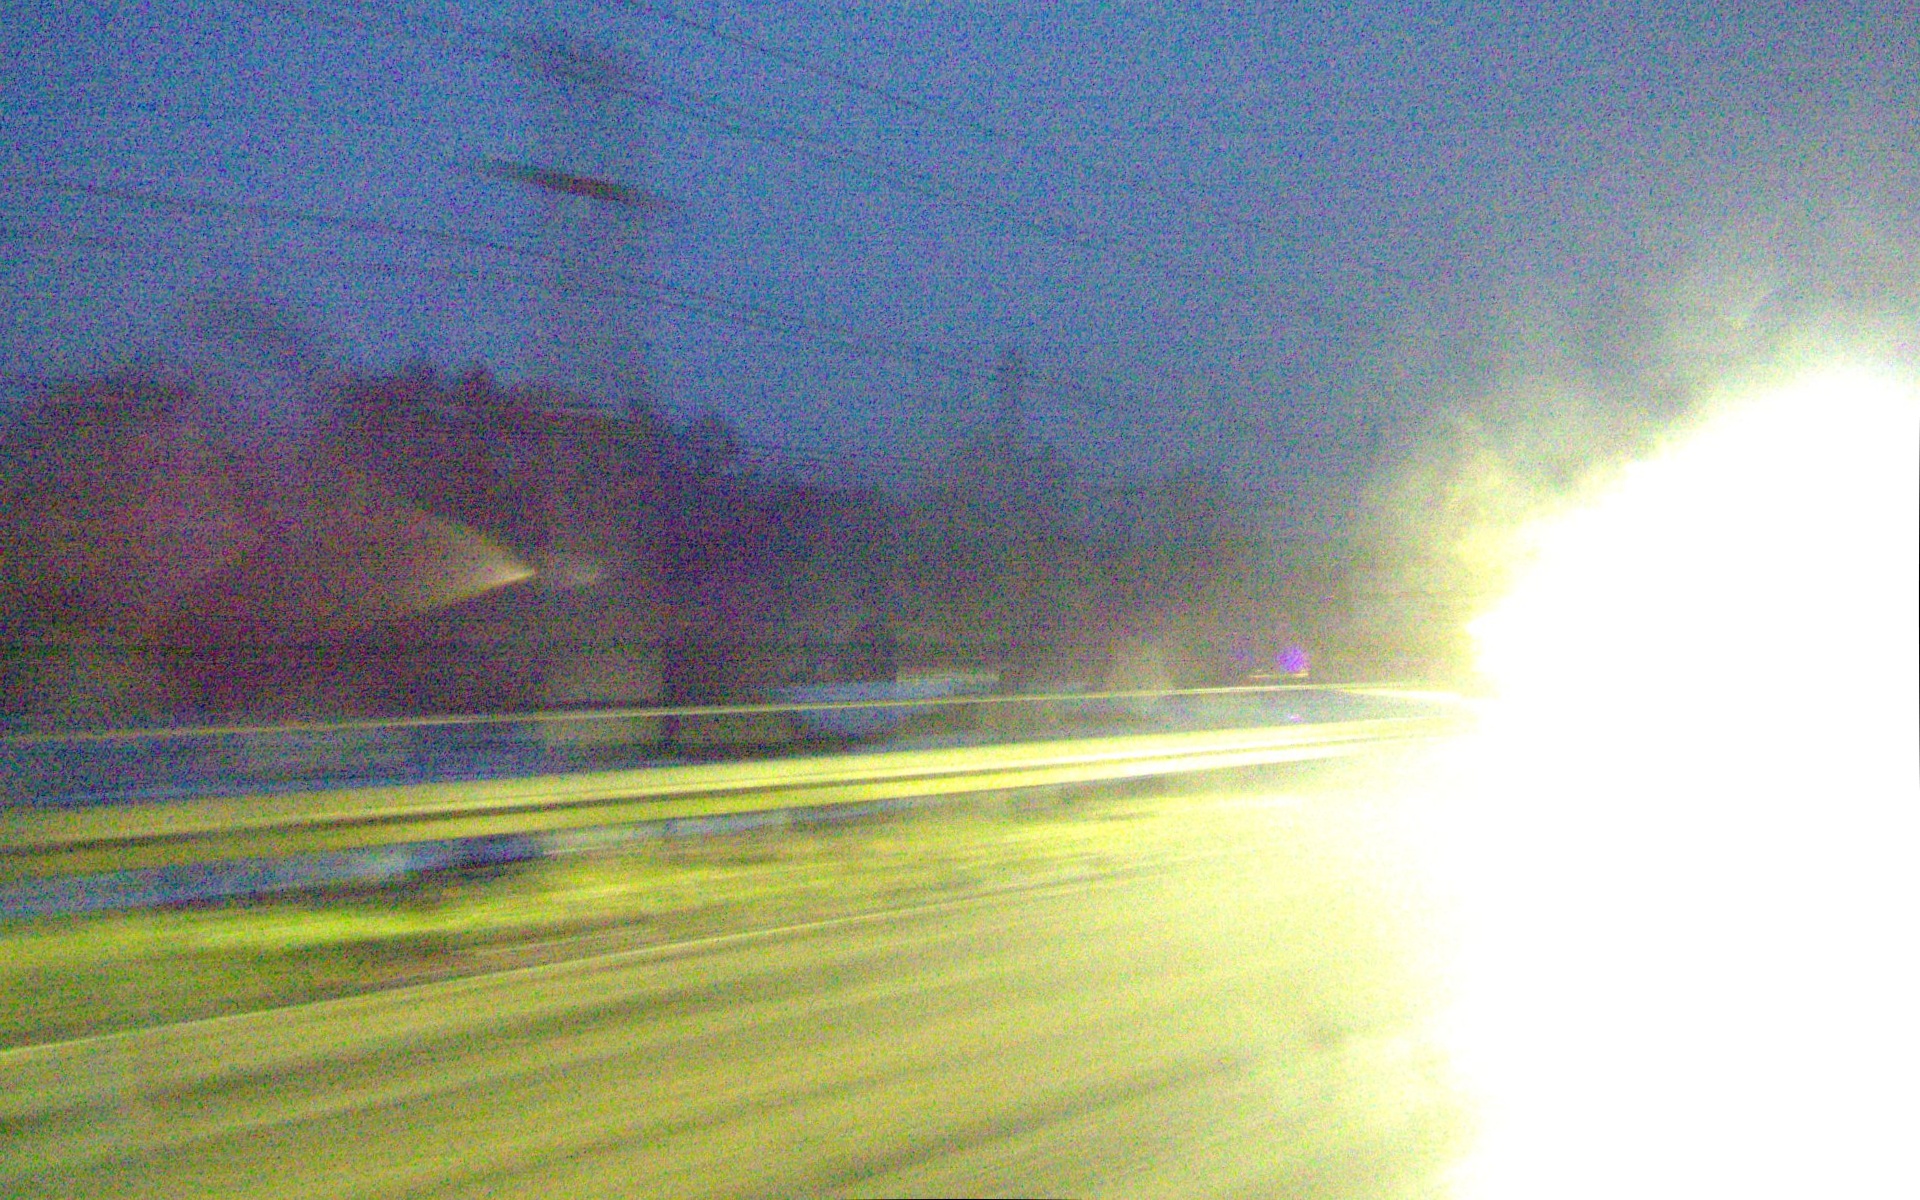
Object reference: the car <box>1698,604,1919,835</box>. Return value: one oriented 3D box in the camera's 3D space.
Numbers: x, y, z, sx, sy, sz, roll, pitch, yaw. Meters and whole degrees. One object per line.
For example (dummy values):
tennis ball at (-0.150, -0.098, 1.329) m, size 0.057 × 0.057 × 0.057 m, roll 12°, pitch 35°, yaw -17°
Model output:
car at (8.671, 0.931, 8.925) m, size 4.275 × 1.705 × 1.847 m, roll 1°, pitch -3°, yaw -31°
